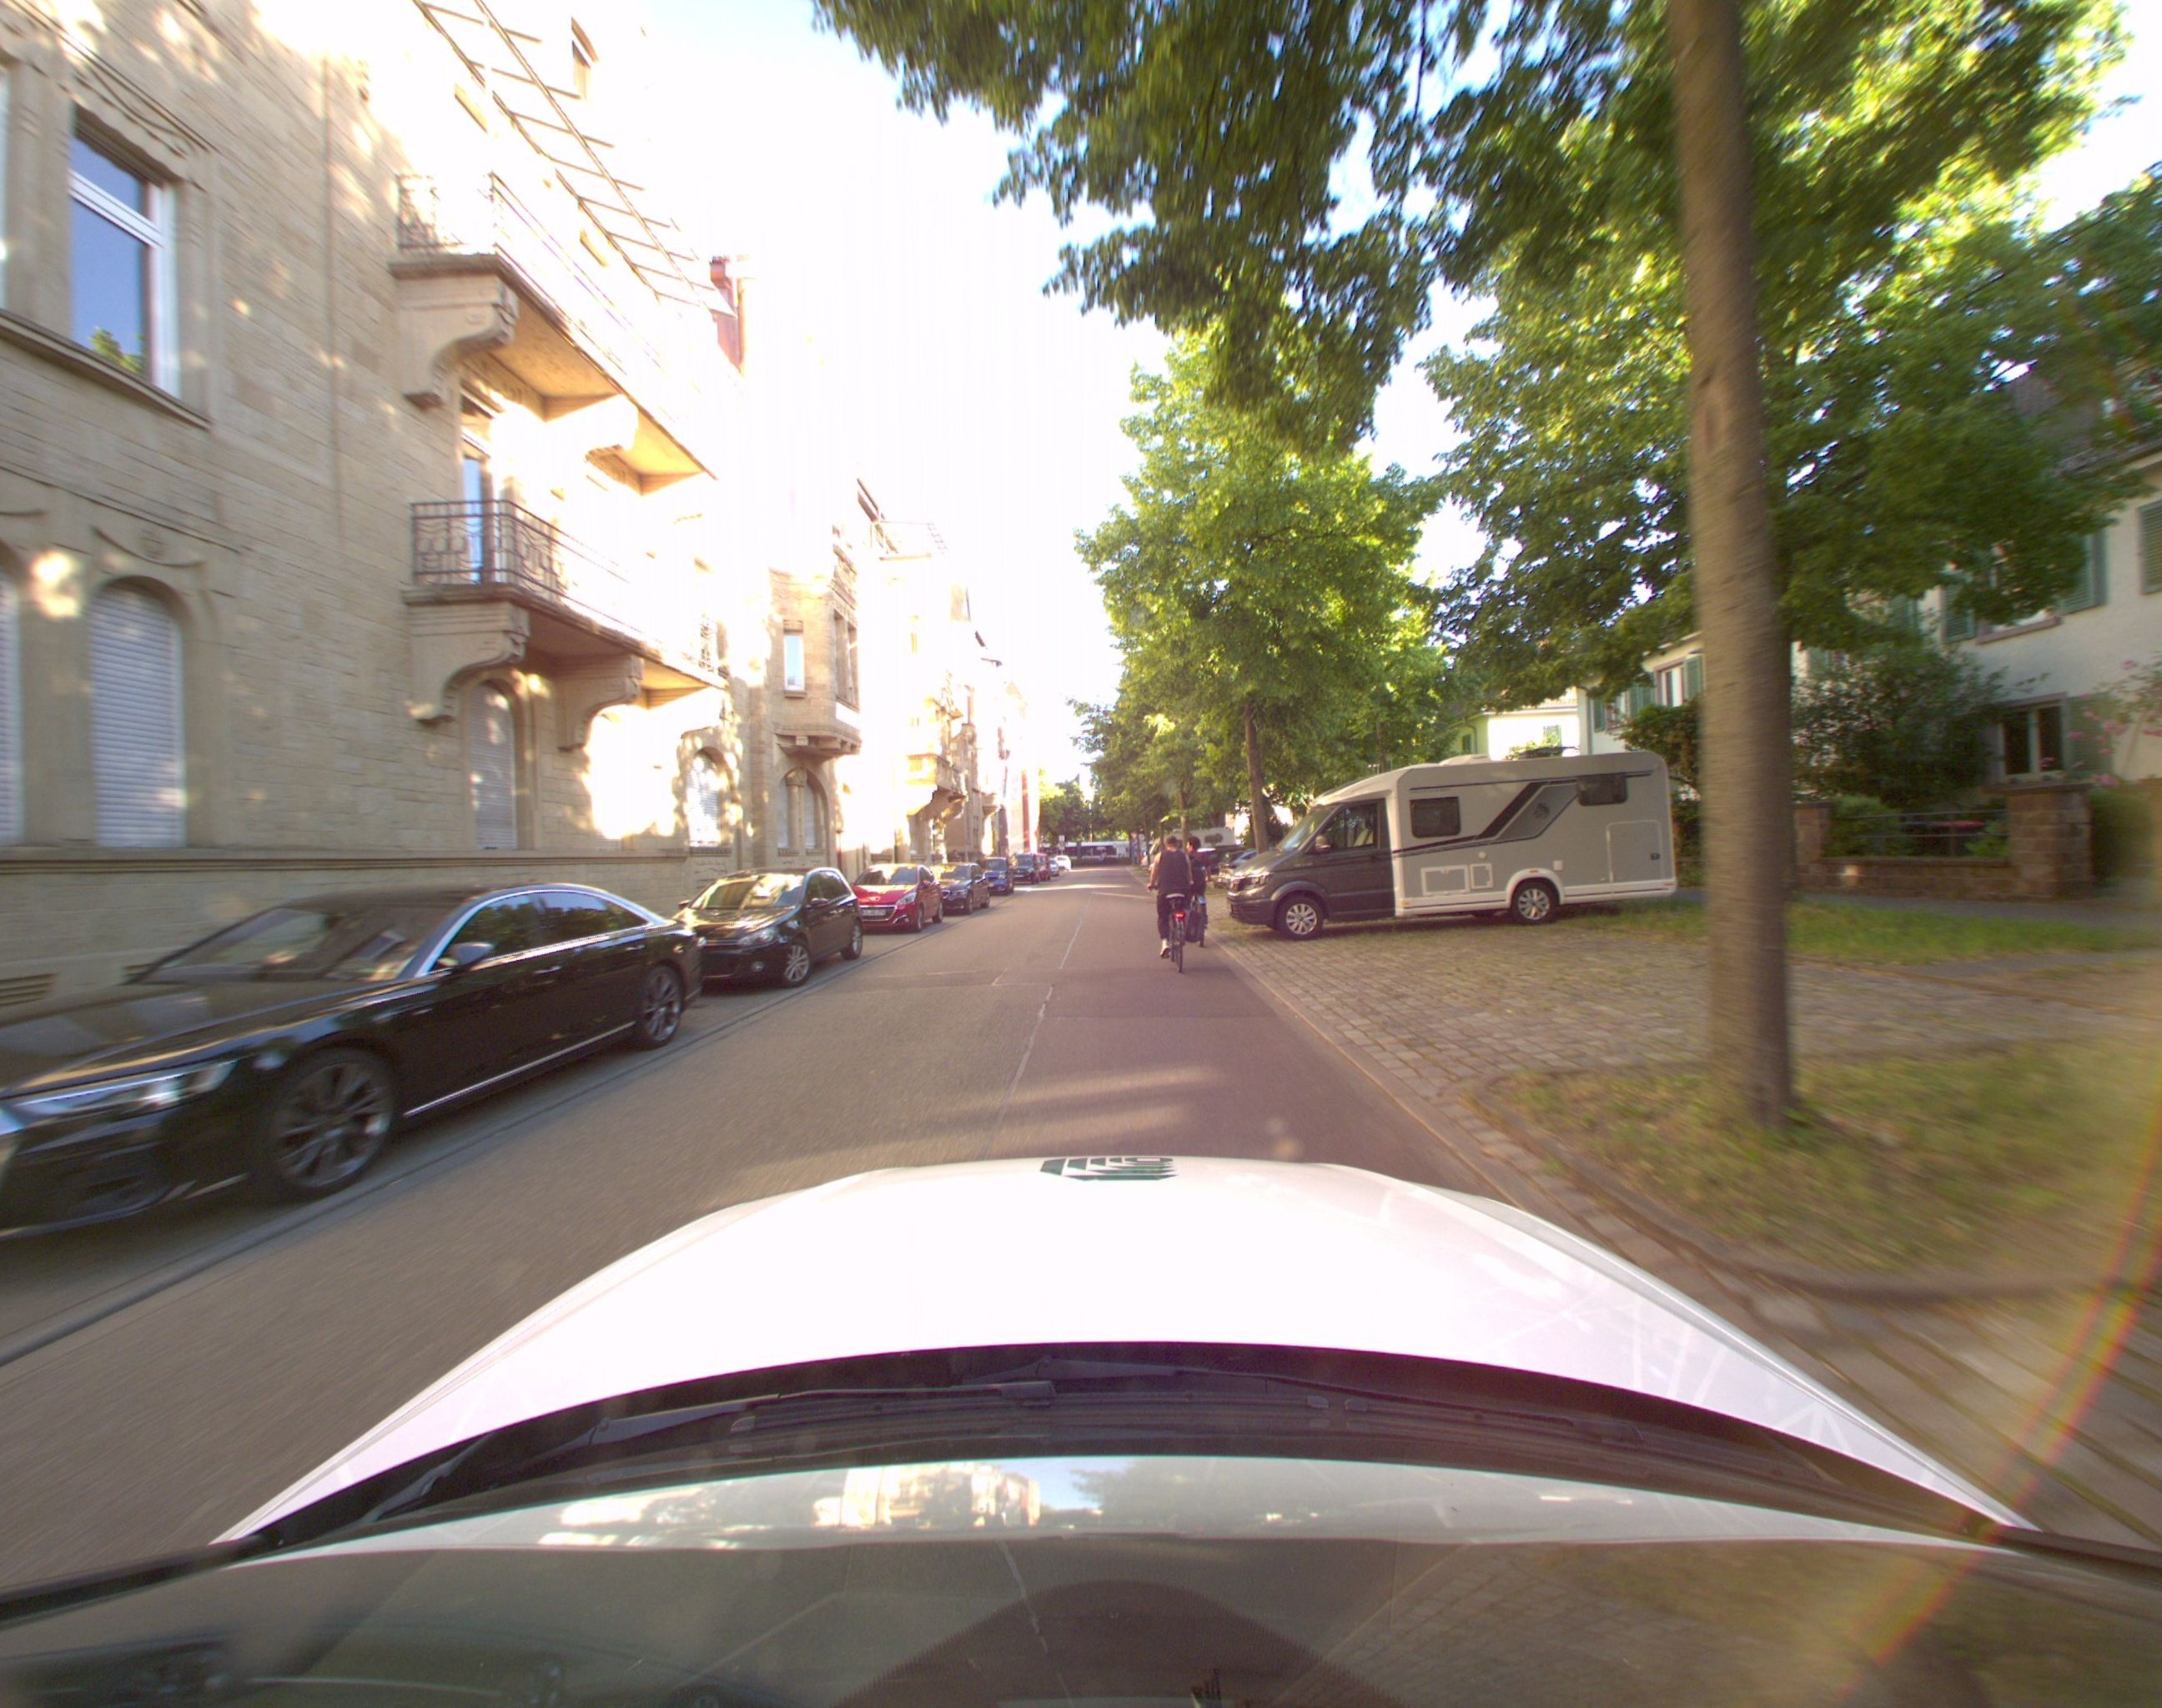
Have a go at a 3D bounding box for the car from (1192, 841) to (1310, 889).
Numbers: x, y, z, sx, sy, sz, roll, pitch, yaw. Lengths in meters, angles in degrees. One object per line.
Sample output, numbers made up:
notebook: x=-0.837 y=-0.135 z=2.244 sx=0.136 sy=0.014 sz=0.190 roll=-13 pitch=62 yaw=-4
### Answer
car: x=6.451 y=0.449 z=31.260 sx=4.205 sy=1.600 sz=1.692 roll=-2 pitch=-2 yaw=3

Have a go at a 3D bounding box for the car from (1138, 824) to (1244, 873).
car: x=7.842 y=-0.381 z=58.606 sx=7.126 sy=2.978 sz=2.463 roll=-4 pitch=0 yaw=-1

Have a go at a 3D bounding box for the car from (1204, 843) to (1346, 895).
car: x=6.071 y=0.466 z=25.770 sx=4.022 sy=1.454 sz=1.689 roll=-2 pitch=0 yaw=-2

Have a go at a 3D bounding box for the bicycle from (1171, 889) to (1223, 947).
bicycle: x=1.918 y=1.035 z=13.641 sx=0.631 sy=0.799 sz=1.833 roll=-2 pitch=0 yaw=2

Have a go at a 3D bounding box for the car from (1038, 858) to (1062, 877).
car: x=-2.452 y=1.046 z=64.606 sx=1.577 sy=1.343 sz=4.134 roll=0 pitch=0 yaw=2

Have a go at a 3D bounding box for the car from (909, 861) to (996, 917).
car: x=-3.739 y=0.970 z=24.446 sx=1.669 sy=1.430 sz=4.553 roll=0 pitch=0 yaw=2

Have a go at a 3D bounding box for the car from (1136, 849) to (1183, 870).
car: x=7.004 y=0.502 z=72.987 sx=3.975 sy=1.803 sz=1.833 roll=-1 pitch=-1 yaw=-1

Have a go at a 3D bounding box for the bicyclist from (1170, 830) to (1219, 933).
bicyclist: x=1.859 y=0.440 z=13.457 sx=0.686 sy=1.626 sz=0.999 roll=-1 pitch=0 yaw=2

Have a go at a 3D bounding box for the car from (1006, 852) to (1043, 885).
car: x=-3.200 y=0.778 z=46.606 sx=1.634 sy=1.783 sz=4.357 roll=0 pitch=0 yaw=2

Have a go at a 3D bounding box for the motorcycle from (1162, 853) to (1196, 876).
motorcycle: x=5.240 y=0.568 z=43.579 sx=1.587 sy=1.141 sz=0.677 roll=-3 pitch=0 yaw=35

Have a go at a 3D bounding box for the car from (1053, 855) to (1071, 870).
car: x=-1.878 y=0.849 z=82.066 sx=1.577 sy=1.375 sz=4.134 roll=0 pitch=0 yaw=2

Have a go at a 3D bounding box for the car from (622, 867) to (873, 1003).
car: x=-4.247 y=0.938 z=11.124 sx=1.690 sy=1.453 sz=4.027 roll=-2 pitch=-1 yaw=0

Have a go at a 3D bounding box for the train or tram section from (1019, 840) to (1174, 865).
train or tram section: x=2.602 y=-0.243 z=124.519 sx=23.890 sy=3.708 sz=4.256 roll=0 pitch=-1 yaw=-21

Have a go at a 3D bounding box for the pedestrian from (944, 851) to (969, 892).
pedestrian: x=-5.388 y=0.743 z=35.168 sx=0.934 sy=1.742 sz=0.735 roll=-1 pitch=-1 yaw=2

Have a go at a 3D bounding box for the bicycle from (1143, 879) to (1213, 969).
bicycle: x=1.256 y=0.881 z=10.889 sx=0.735 sy=1.054 sz=1.956 roll=0 pitch=-1 yaw=1

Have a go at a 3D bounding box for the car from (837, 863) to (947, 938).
car: x=-4.165 y=0.967 z=18.509 sx=1.624 sy=1.453 sz=3.837 roll=-1 pitch=0 yaw=-1

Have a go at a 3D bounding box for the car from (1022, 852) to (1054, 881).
car: x=-2.800 y=0.786 z=53.691 sx=1.682 sy=1.825 sz=4.275 roll=0 pitch=0 yaw=2

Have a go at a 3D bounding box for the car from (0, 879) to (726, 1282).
car: x=-4.494 y=0.957 z=5.625 sx=1.804 sy=1.427 sz=4.899 roll=1 pitch=0 yaw=1

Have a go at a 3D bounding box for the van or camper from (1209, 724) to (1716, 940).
van or camper: x=5.932 y=-0.320 z=13.618 sx=7.116 sy=2.647 sz=2.467 roll=-5 pitch=0 yaw=3

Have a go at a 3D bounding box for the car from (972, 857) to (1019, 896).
car: x=-3.481 y=0.904 z=33.656 sx=1.590 sy=1.489 sz=2.736 roll=2 pitch=0 yaw=0

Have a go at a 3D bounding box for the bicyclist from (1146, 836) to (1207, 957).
bicyclist: x=1.254 y=0.547 z=10.874 sx=0.727 sy=1.548 sz=0.884 roll=0 pitch=-1 yaw=1

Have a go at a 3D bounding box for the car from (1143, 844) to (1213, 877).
car: x=6.083 y=0.405 z=51.314 sx=4.070 sy=1.650 sz=1.640 roll=-5 pitch=-1 yaw=-1

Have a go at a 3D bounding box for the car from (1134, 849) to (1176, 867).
car: x=7.339 y=0.401 z=80.872 sx=3.975 sy=1.803 sz=1.833 roll=-1 pitch=-1 yaw=-1

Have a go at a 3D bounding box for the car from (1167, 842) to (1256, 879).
car: x=6.382 y=0.346 z=40.225 sx=4.121 sy=1.600 sz=1.704 roll=-2 pitch=-2 yaw=3

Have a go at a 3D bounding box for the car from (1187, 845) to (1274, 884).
car: x=6.863 y=0.487 z=37.661 sx=3.757 sy=1.600 sz=1.692 roll=-2 pitch=-2 yaw=3
